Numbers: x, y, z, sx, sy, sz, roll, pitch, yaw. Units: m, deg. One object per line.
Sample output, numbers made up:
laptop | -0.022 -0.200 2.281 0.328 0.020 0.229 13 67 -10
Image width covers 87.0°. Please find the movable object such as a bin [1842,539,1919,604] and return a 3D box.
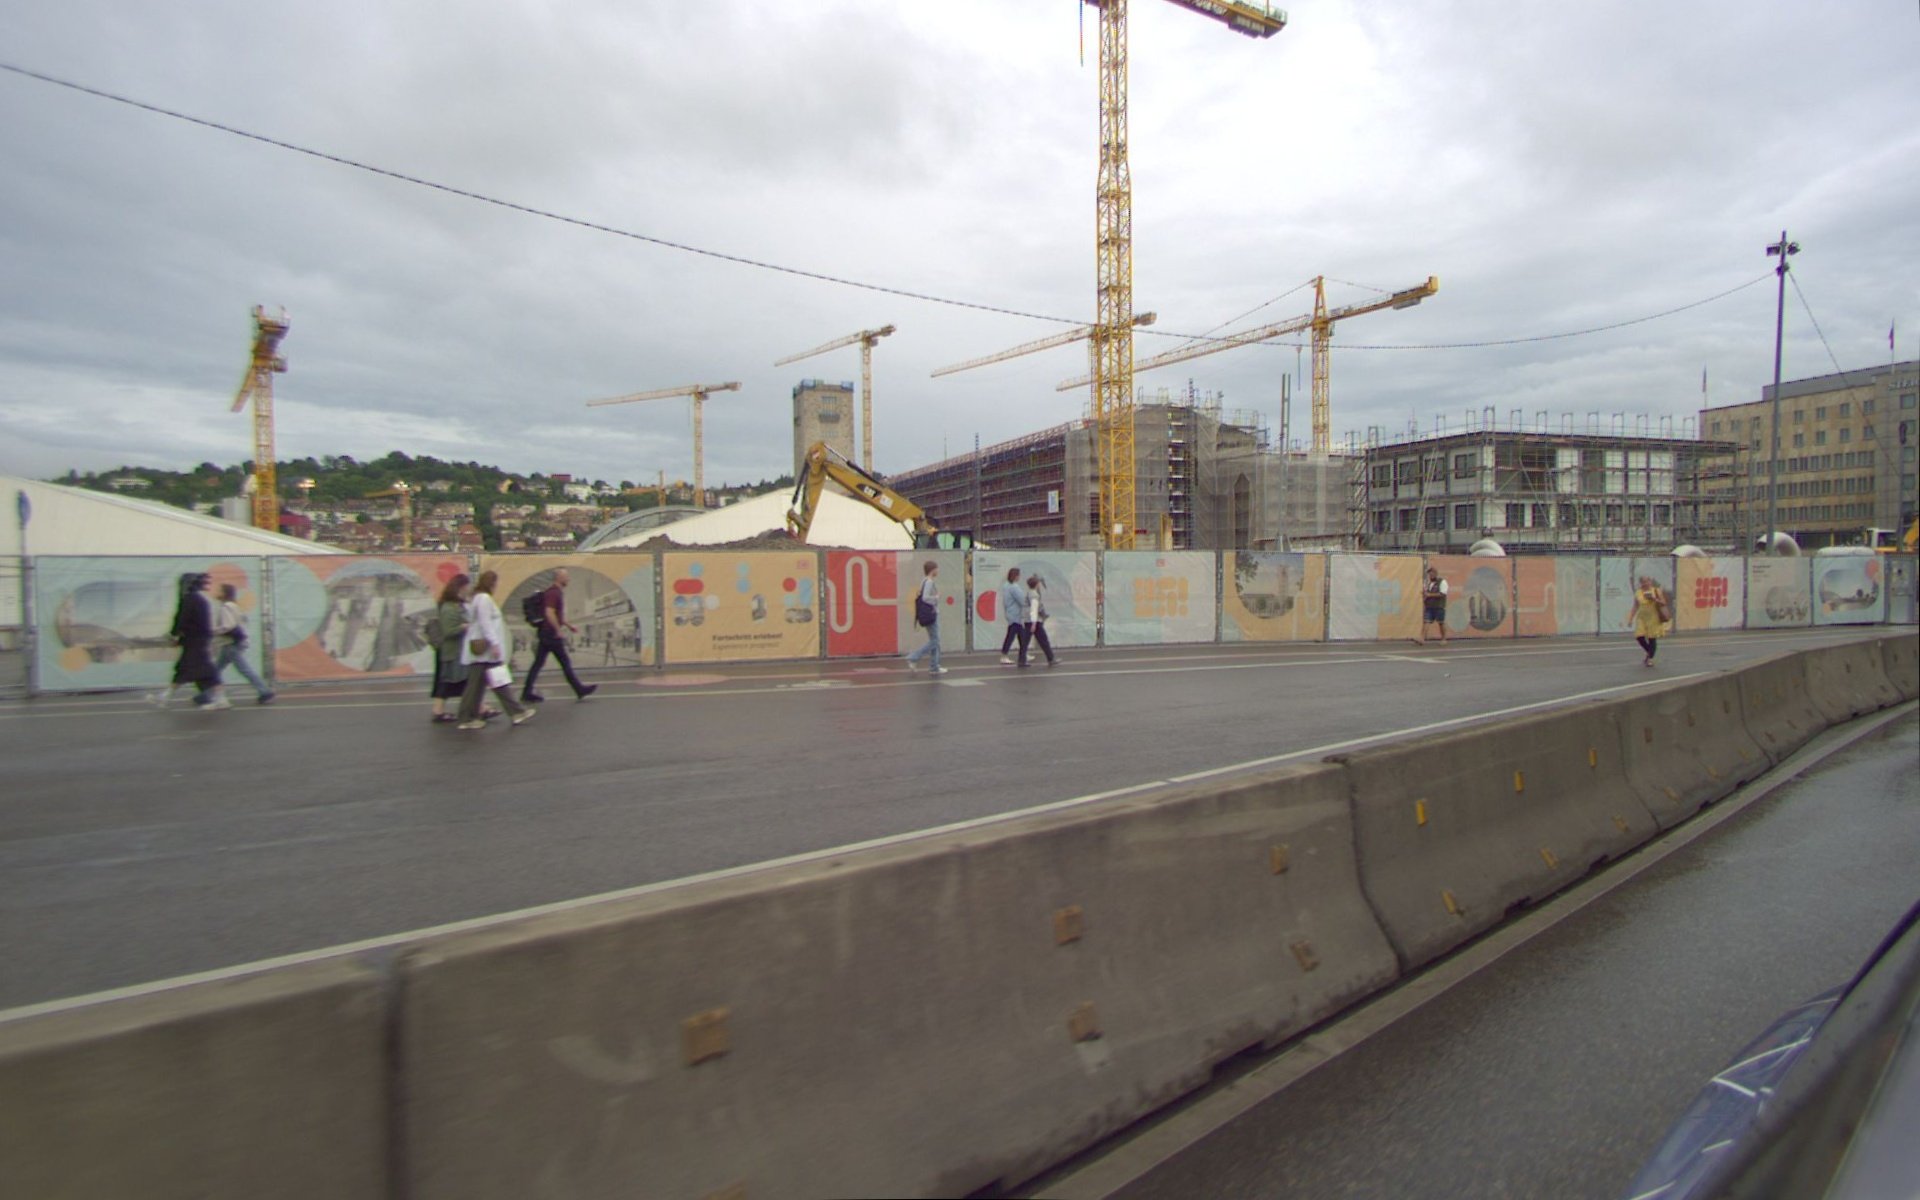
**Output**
movable object such as a bin | 39.139 -1.170 41.433 4.068 2.567 1.992 0 1 15

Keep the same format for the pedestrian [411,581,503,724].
pedestrian | -5.632 0.558 11.377 0.867 1.541 0.612 -1 1 -21

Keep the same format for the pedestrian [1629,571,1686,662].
pedestrian | 12.945 0.284 18.782 0.892 1.653 0.648 -1 1 -41

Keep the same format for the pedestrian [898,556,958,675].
pedestrian | -0.525 0.226 16.335 0.913 1.872 0.821 0 1 -5

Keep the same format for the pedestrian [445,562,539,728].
pedestrian | -5.121 0.454 11.122 0.872 1.744 0.781 -1 1 -21

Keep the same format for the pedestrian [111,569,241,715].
pedestrian | -9.788 0.490 12.678 0.987 1.747 0.871 0 1 -12

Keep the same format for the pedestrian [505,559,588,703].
pedestrian | -5.492 0.375 13.476 0.987 1.840 0.871 -1 1 -21

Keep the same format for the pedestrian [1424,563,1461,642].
pedestrian | 10.980 0.049 23.037 0.485 1.770 0.569 -1 1 -23

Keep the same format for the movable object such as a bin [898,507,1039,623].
movable object such as a bin | 0.294 -1.113 32.166 4.149 3.451 1.944 -1 2 -34

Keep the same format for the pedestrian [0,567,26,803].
pedestrian | -6.975 0.590 6.628 0.932 1.613 0.865 0 1 -13

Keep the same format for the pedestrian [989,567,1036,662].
pedestrian | 0.927 0.246 18.107 0.750 1.675 0.650 0 1 -5

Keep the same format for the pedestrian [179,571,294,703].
pedestrian | -9.738 0.466 13.665 0.987 1.710 0.871 0 1 -12

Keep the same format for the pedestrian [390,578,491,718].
pedestrian | -6.103 0.532 11.940 0.987 1.572 0.718 -1 1 -21

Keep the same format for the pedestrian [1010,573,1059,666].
pedestrian | 1.279 0.319 17.420 0.750 1.572 0.650 0 1 -5
